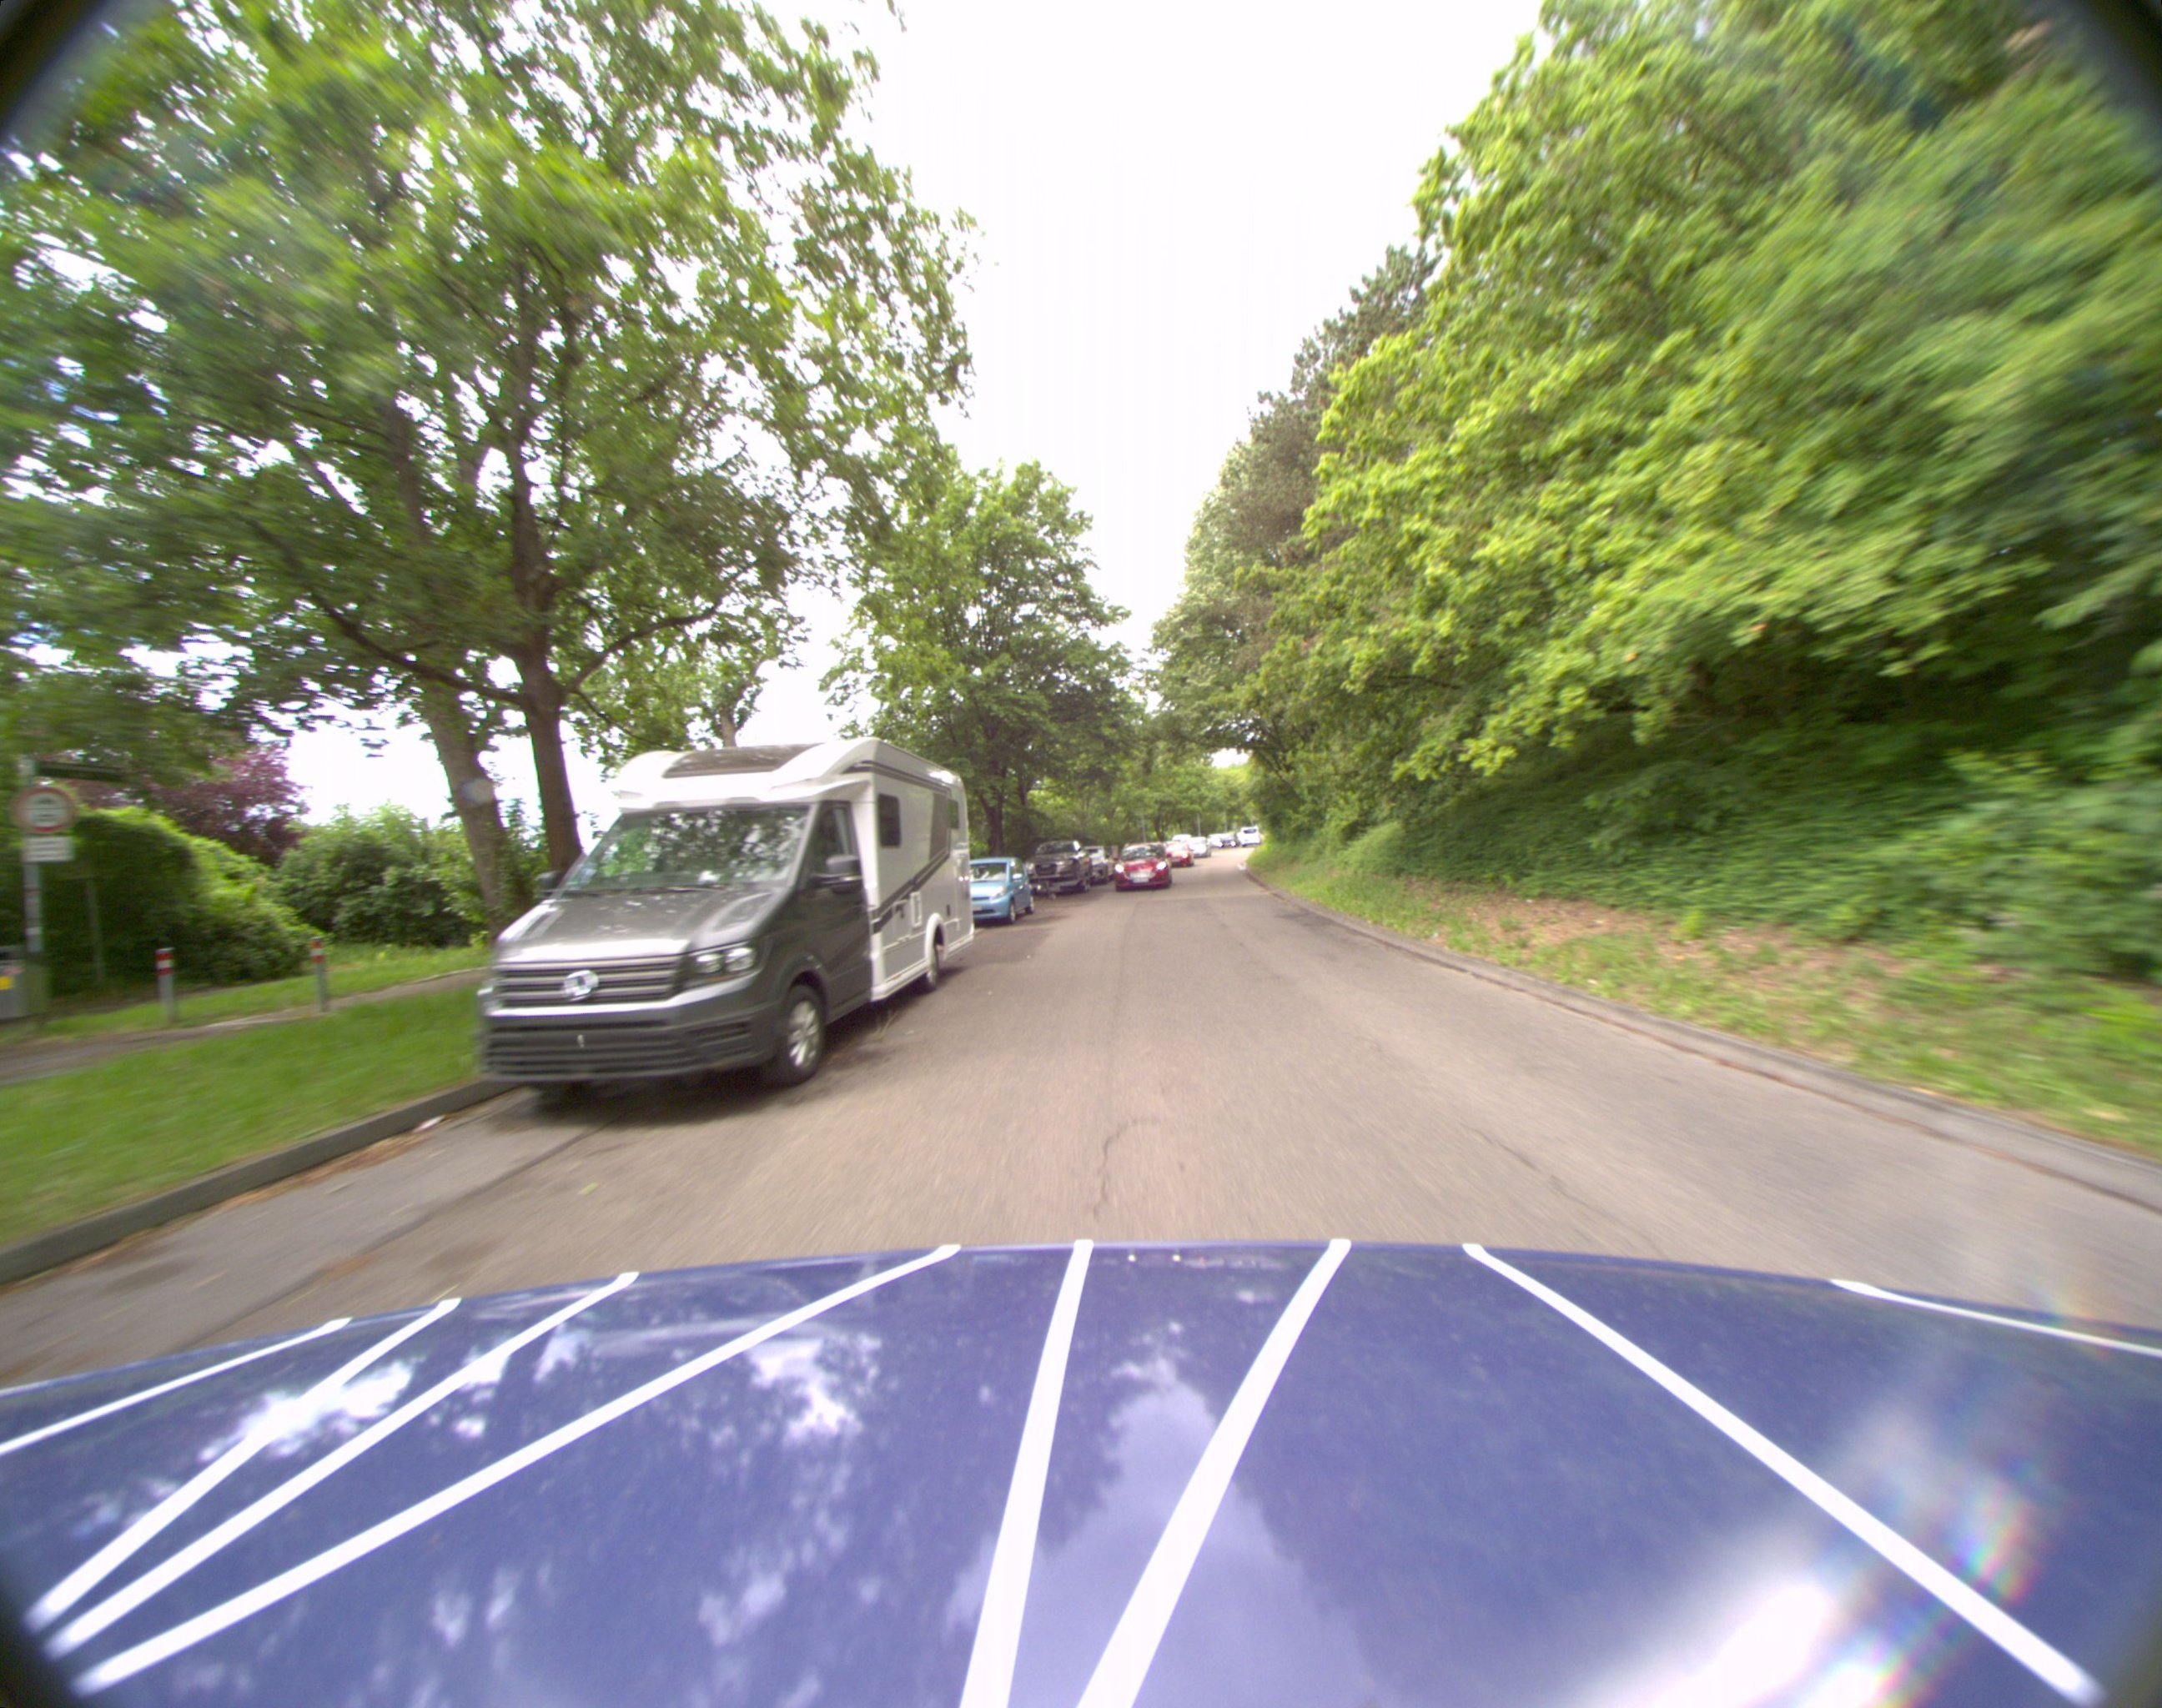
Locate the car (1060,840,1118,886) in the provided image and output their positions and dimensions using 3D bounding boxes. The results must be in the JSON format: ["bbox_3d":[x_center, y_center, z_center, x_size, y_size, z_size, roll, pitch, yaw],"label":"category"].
[{"bbox_3d":[0.427,0.341,33.418,1.844,1.675,4.601,-4,1,8],"label":"car"}]

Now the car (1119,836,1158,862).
[{"bbox_3d":[3.905,-0.370,50.622,1.865,1.558,4.179,-4,1,13],"label":"car"}]

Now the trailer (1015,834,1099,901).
[{"bbox_3d":[-0.720,0.384,27.633,1.997,1.922,5.894,-3,2,8],"label":"trailer"}]

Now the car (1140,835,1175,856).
[{"bbox_3d":[5.752,-0.660,56.954,1.865,1.440,4.179,-4,1,15],"label":"car"}]

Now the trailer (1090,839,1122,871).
[{"bbox_3d":[1.343,0.027,40.293,1.376,1.595,2.268,-4,1,8],"label":"trailer"}]

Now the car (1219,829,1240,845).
[{"bbox_3d":[15.955,-1.877,81.520,1.766,1.509,4.003,-4,1,15],"label":"car"}]

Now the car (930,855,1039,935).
[{"bbox_3d":[-2.207,0.902,18.422,1.699,1.538,3.769,-4,1,6],"label":"car"}]

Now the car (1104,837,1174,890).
[{"bbox_3d":[2.009,0.305,27.635,1.999,1.619,4.625,-4,1,-1],"label":"car"}]

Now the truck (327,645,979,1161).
[{"bbox_3d":[-2.985,0.279,7.935,2.309,2.916,7.034,-3,1,4],"label":"truck"}]

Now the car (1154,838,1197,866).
[{"bbox_3d":[5.753,-0.154,45.914,1.865,1.440,4.179,-4,1,15],"label":"car"}]

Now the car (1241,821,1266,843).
[{"bbox_3d":[17.815,-2.276,78.372,2.147,2.003,4.003,-3,3,17],"label":"car"}]

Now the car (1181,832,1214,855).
[{"bbox_3d":[9.158,-0.827,59.635,1.920,1.672,4.004,-1,2,17],"label":"car"}]

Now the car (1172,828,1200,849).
[{"bbox_3d":[9.700,-1.439,69.990,1.865,1.716,4.179,-4,1,15],"label":"car"}]
